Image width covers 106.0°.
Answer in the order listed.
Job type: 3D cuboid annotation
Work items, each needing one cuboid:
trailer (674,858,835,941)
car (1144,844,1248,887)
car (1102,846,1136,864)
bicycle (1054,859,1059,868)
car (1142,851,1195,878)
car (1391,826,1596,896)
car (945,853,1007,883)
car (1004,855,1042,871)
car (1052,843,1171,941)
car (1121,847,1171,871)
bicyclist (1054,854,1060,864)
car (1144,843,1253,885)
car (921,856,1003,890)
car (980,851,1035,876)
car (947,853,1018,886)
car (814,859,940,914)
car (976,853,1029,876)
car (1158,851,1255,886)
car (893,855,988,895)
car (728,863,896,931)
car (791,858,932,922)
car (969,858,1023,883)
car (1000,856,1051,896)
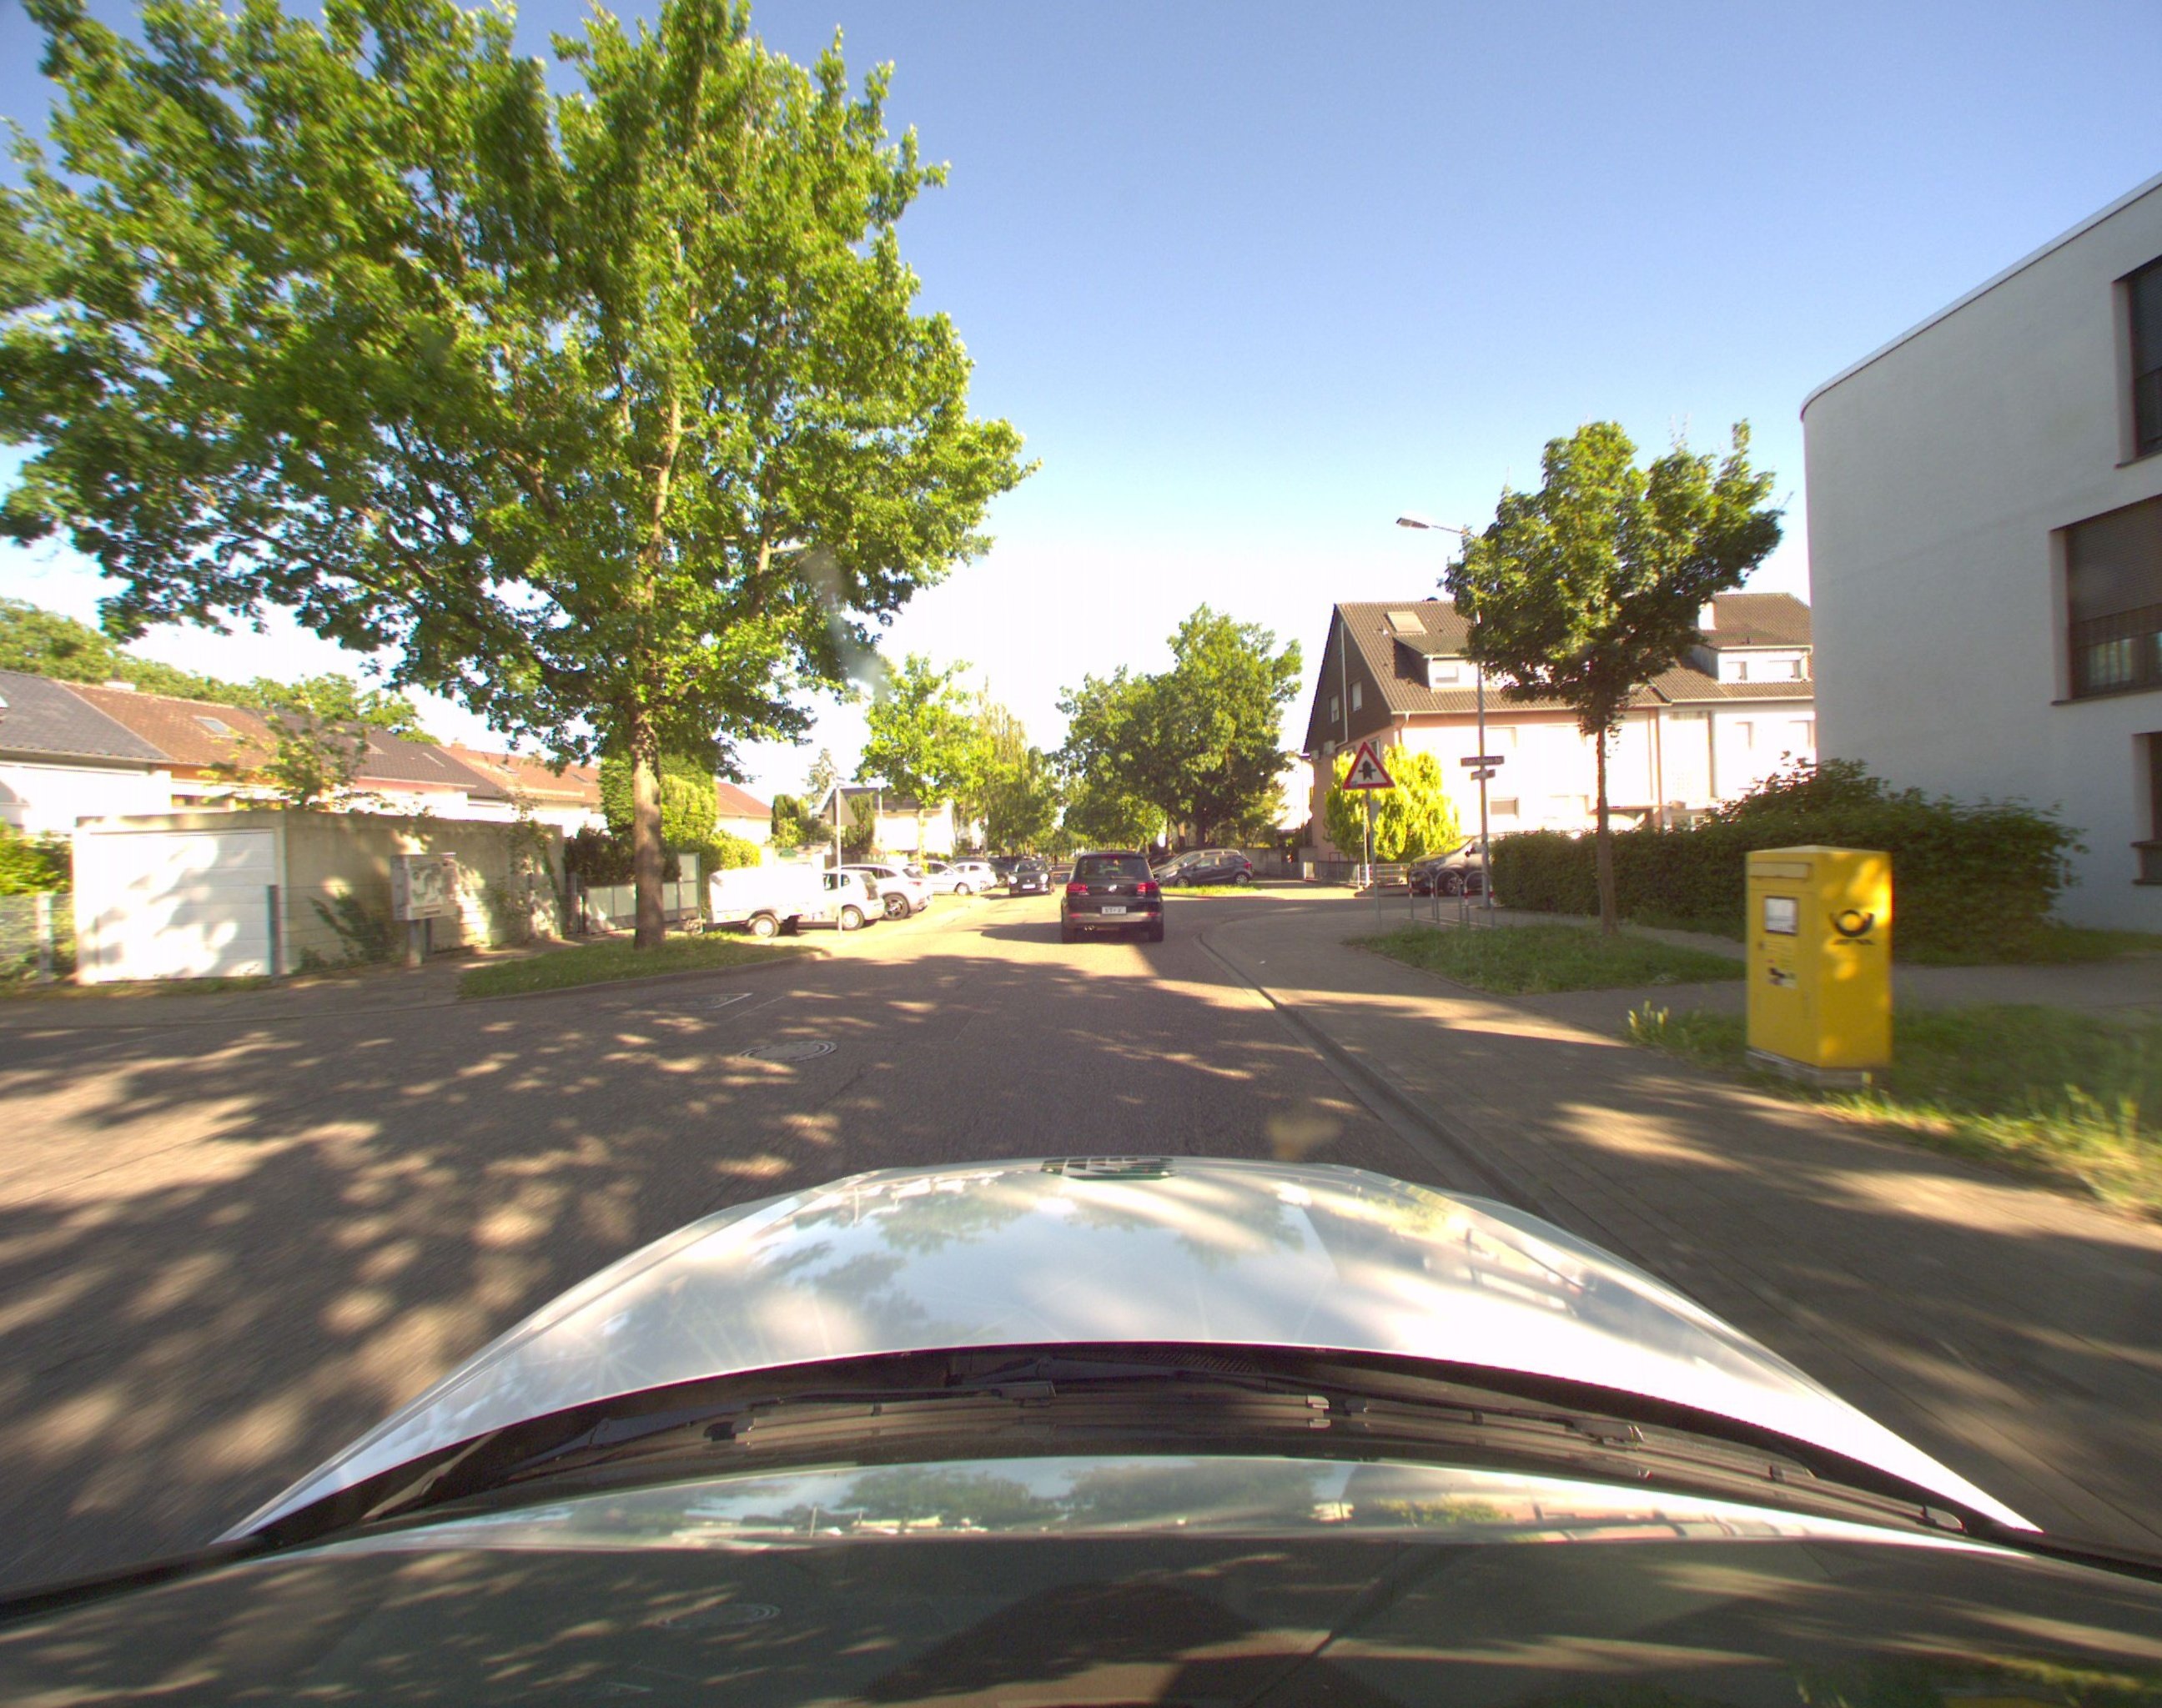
[{"bbox_3d":[-7.176,0.971,18.097,2.961,1.656,1.394,-2,0,-4],"label":"trailer"},{"bbox_3d":[5.357,0.525,38.502,4.618,1.809,1.823,-2,0,0],"label":"car"},{"bbox_3d":[4.547,0.127,98.422,3.973,2.014,2.000,-2,-2,0],"label":"car"},{"bbox_3d":[-3.276,1.317,110.333,0.636,1.163,1.739,-2,-2,-3],"label":"bicycle"},{"bbox_3d":[5.362,0.646,50.278,3.040,1.507,1.244,-2,0,-6],"label":"car"},{"bbox_3d":[12.536,0.224,24.958,5.227,1.847,2.070,-2,-2,-3],"label":"car"},{"bbox_3d":[-7.118,0.942,55.496,3.979,1.836,1.635,-2,0,-4],"label":"car"},{"bbox_3d":[-6.468,0.992,90.589,3.984,1.684,1.918,-2,0,-8],"label":"car"},{"bbox_3d":[0.439,0.638,16.088,1.925,1.654,4.508,0,0,-4],"label":"car"},{"bbox_3d":[5.309,0.403,66.960,3.973,1.775,1.790,-2,0,0],"label":"car"},{"bbox_3d":[-3.291,0.698,110.378,0.699,1.346,0.506,-2,-2,-4],"label":"bicyclist"},{"bbox_3d":[5.924,0.494,41.543,5.243,1.945,2.000,-2,0,0],"label":"car"},{"bbox_3d":[-6.275,0.982,43.281,3.972,1.640,2.001,-2,0,1],"label":"car"},{"bbox_3d":[-6.069,0.791,67.608,4.382,1.939,1.576,-2,-2,-4],"label":"car"},{"bbox_3d":[-5.742,0.900,48.043,3.979,1.731,1.997,-2,0,-4],"label":"car"},{"bbox_3d":[-6.369,0.990,25.752,3.543,1.557,1.849,-2,-1,-5],"label":"car"},{"bbox_3d":[-6.233,0.857,65.135,3.975,1.720,1.820,-2,-2,-1],"label":"car"},{"bbox_3d":[5.506,0.622,36.004,3.974,1.368,1.846,-2,0,0],"label":"car"},{"bbox_3d":[-6.477,0.956,37.941,3.972,1.670,2.001,-2,0,1],"label":"car"},{"bbox_3d":[-6.665,1.042,20.458,3.537,1.477,1.808,-2,0,0],"label":"car"},{"bbox_3d":[-6.146,0.976,23.138,3.544,1.613,1.849,-2,0,-6],"label":"car"},{"bbox_3d":[-5.442,1.069,52.634,3.364,1.490,1.641,-2,0,-4],"label":"car"},{"bbox_3d":[-2.363,0.911,35.590,1.904,1.555,3.999,-3,0,-1],"label":"car"}]
